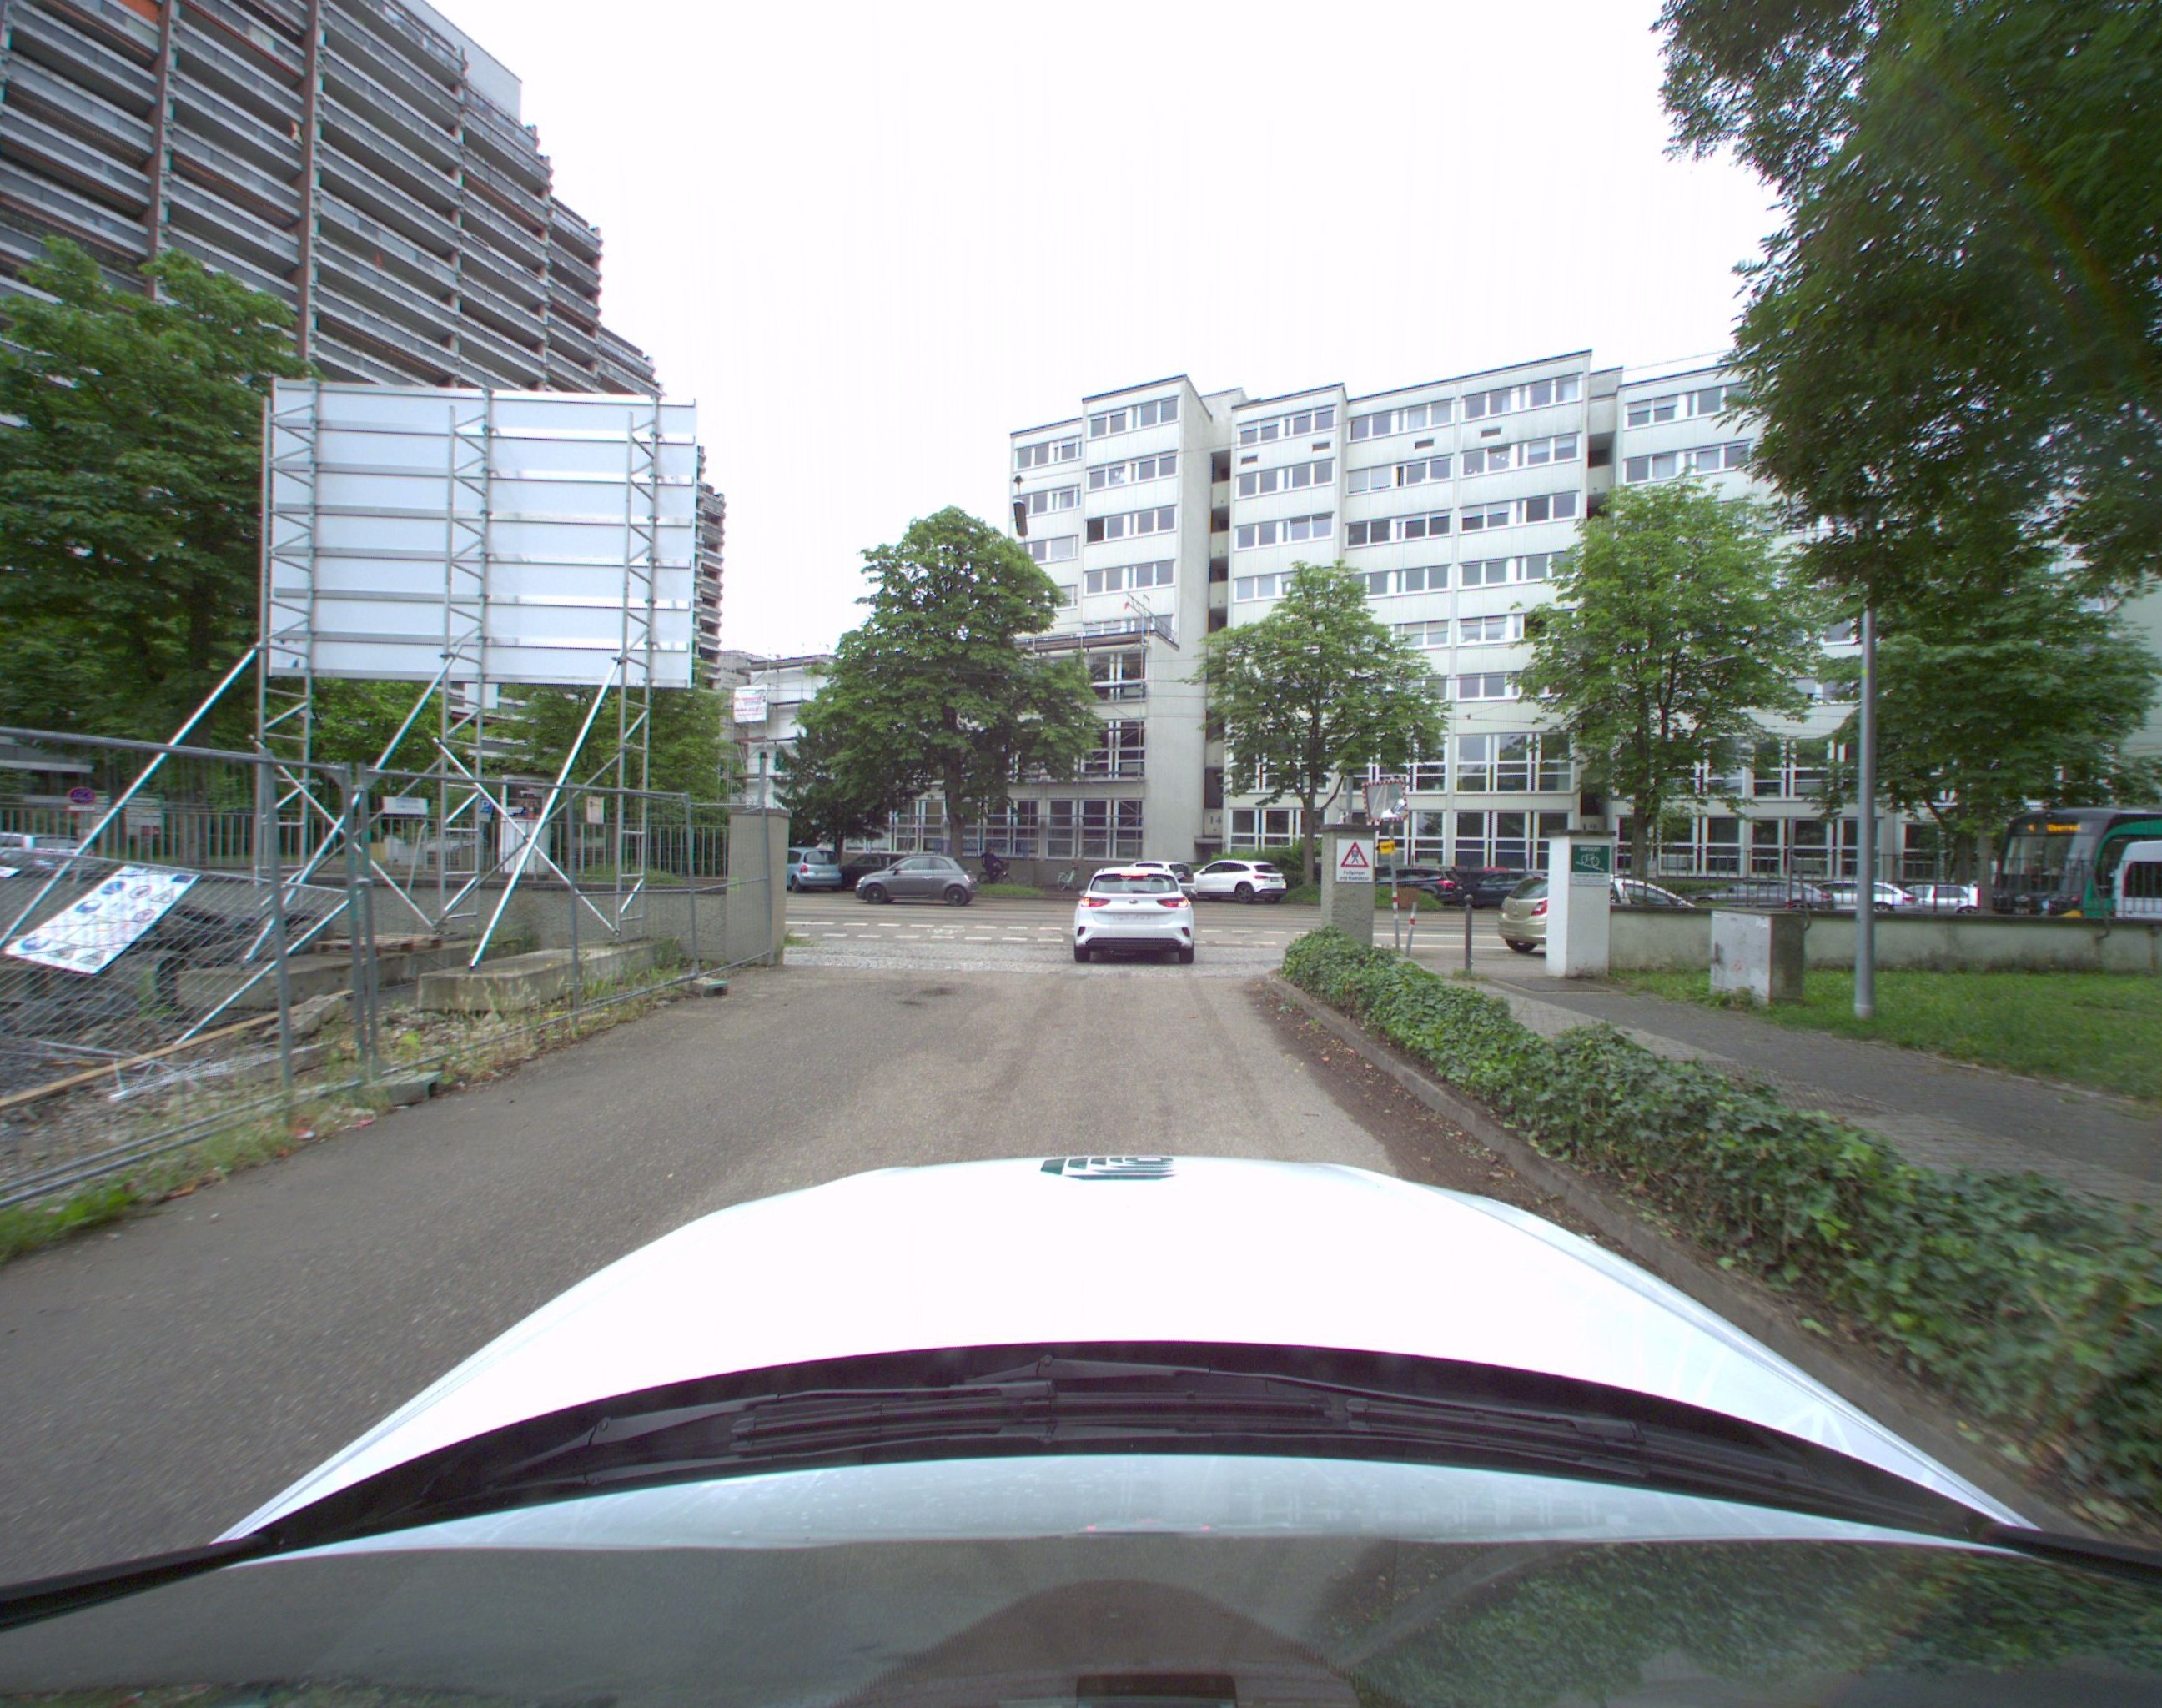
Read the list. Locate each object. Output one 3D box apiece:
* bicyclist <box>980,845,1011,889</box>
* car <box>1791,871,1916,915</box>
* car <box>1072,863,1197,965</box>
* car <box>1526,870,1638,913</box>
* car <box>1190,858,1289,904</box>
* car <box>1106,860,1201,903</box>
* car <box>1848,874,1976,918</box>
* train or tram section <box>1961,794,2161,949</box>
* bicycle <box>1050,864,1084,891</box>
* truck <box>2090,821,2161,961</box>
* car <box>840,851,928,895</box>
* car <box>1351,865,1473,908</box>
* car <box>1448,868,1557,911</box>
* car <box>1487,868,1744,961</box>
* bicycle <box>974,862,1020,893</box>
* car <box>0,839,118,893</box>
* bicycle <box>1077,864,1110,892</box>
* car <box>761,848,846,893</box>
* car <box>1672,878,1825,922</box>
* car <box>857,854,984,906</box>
[{"bbox_3d":[-3.420,0.515,32.695,0.839,1.698,0.886,2,-1,-43],"label":"bicyclist"},{"bbox_3d":[28.987,1.415,30.608,1.425,1.474,3.348,1,0,-44],"label":"car"},{"bbox_3d":[0.945,0.932,13.535,1.767,1.433,3.984,0,-3,5],"label":"car"},{"bbox_3d":[18.835,1.377,30.699,1.425,1.474,3.348,1,-1,-44],"label":"car"},{"bbox_3d":[5.851,0.961,30.349,1.565,1.618,3.367,1,-1,-42],"label":"car"},{"bbox_3d":[2.635,0.960,30.058,1.565,1.473,3.367,1,-1,-42],"label":"car"},{"bbox_3d":[31.655,1.563,31.107,1.425,1.474,3.348,1,0,-44],"label":"car"},{"bbox_3d":[29.808,0.486,20.605,12.377,3.614,2.667,1,0,-1],"label":"train or tram section"},{"bbox_3d":[-0.607,1.027,36.466,0.638,1.074,2.325,1,2,22],"label":"bicycle"},{"bbox_3d":[22.169,0.700,14.864,4.896,2.546,2.169,1,0,-1],"label":"truck"},{"bbox_3d":[-7.195,0.660,29.629,1.628,1.511,3.296,1,-1,-45],"label":"car"},{"bbox_3d":[12.397,1.156,30.582,3.904,1.474,1.683,0,-1,42],"label":"car"},{"bbox_3d":[15.652,1.288,30.319,1.425,1.474,3.348,1,-1,-44],"label":"car"},{"bbox_3d":[9.538,1.044,14.732,3.570,1.501,1.665,1,0,0],"label":"car"},{"bbox_3d":[-3.384,0.926,32.660,0.826,1.174,1.892,2,0,-43],"label":"bicycle"},{"bbox_3d":[-31.448,0.317,24.028,3.974,1.519,1.731,1,0,0],"label":"car"},{"bbox_3d":[0.576,1.053,35.958,0.638,1.074,2.325,1,2,22],"label":"bicycle"},{"bbox_3d":[-10.137,0.574,29.632,1.628,1.537,3.296,1,0,-45],"label":"car"},{"bbox_3d":[25.302,1.706,30.993,4.441,1.474,1.425,0,-3,42],"label":"car"},{"bbox_3d":[-4.640,0.740,23.900,3.409,1.420,1.520,1,0,-1],"label":"car"}]
